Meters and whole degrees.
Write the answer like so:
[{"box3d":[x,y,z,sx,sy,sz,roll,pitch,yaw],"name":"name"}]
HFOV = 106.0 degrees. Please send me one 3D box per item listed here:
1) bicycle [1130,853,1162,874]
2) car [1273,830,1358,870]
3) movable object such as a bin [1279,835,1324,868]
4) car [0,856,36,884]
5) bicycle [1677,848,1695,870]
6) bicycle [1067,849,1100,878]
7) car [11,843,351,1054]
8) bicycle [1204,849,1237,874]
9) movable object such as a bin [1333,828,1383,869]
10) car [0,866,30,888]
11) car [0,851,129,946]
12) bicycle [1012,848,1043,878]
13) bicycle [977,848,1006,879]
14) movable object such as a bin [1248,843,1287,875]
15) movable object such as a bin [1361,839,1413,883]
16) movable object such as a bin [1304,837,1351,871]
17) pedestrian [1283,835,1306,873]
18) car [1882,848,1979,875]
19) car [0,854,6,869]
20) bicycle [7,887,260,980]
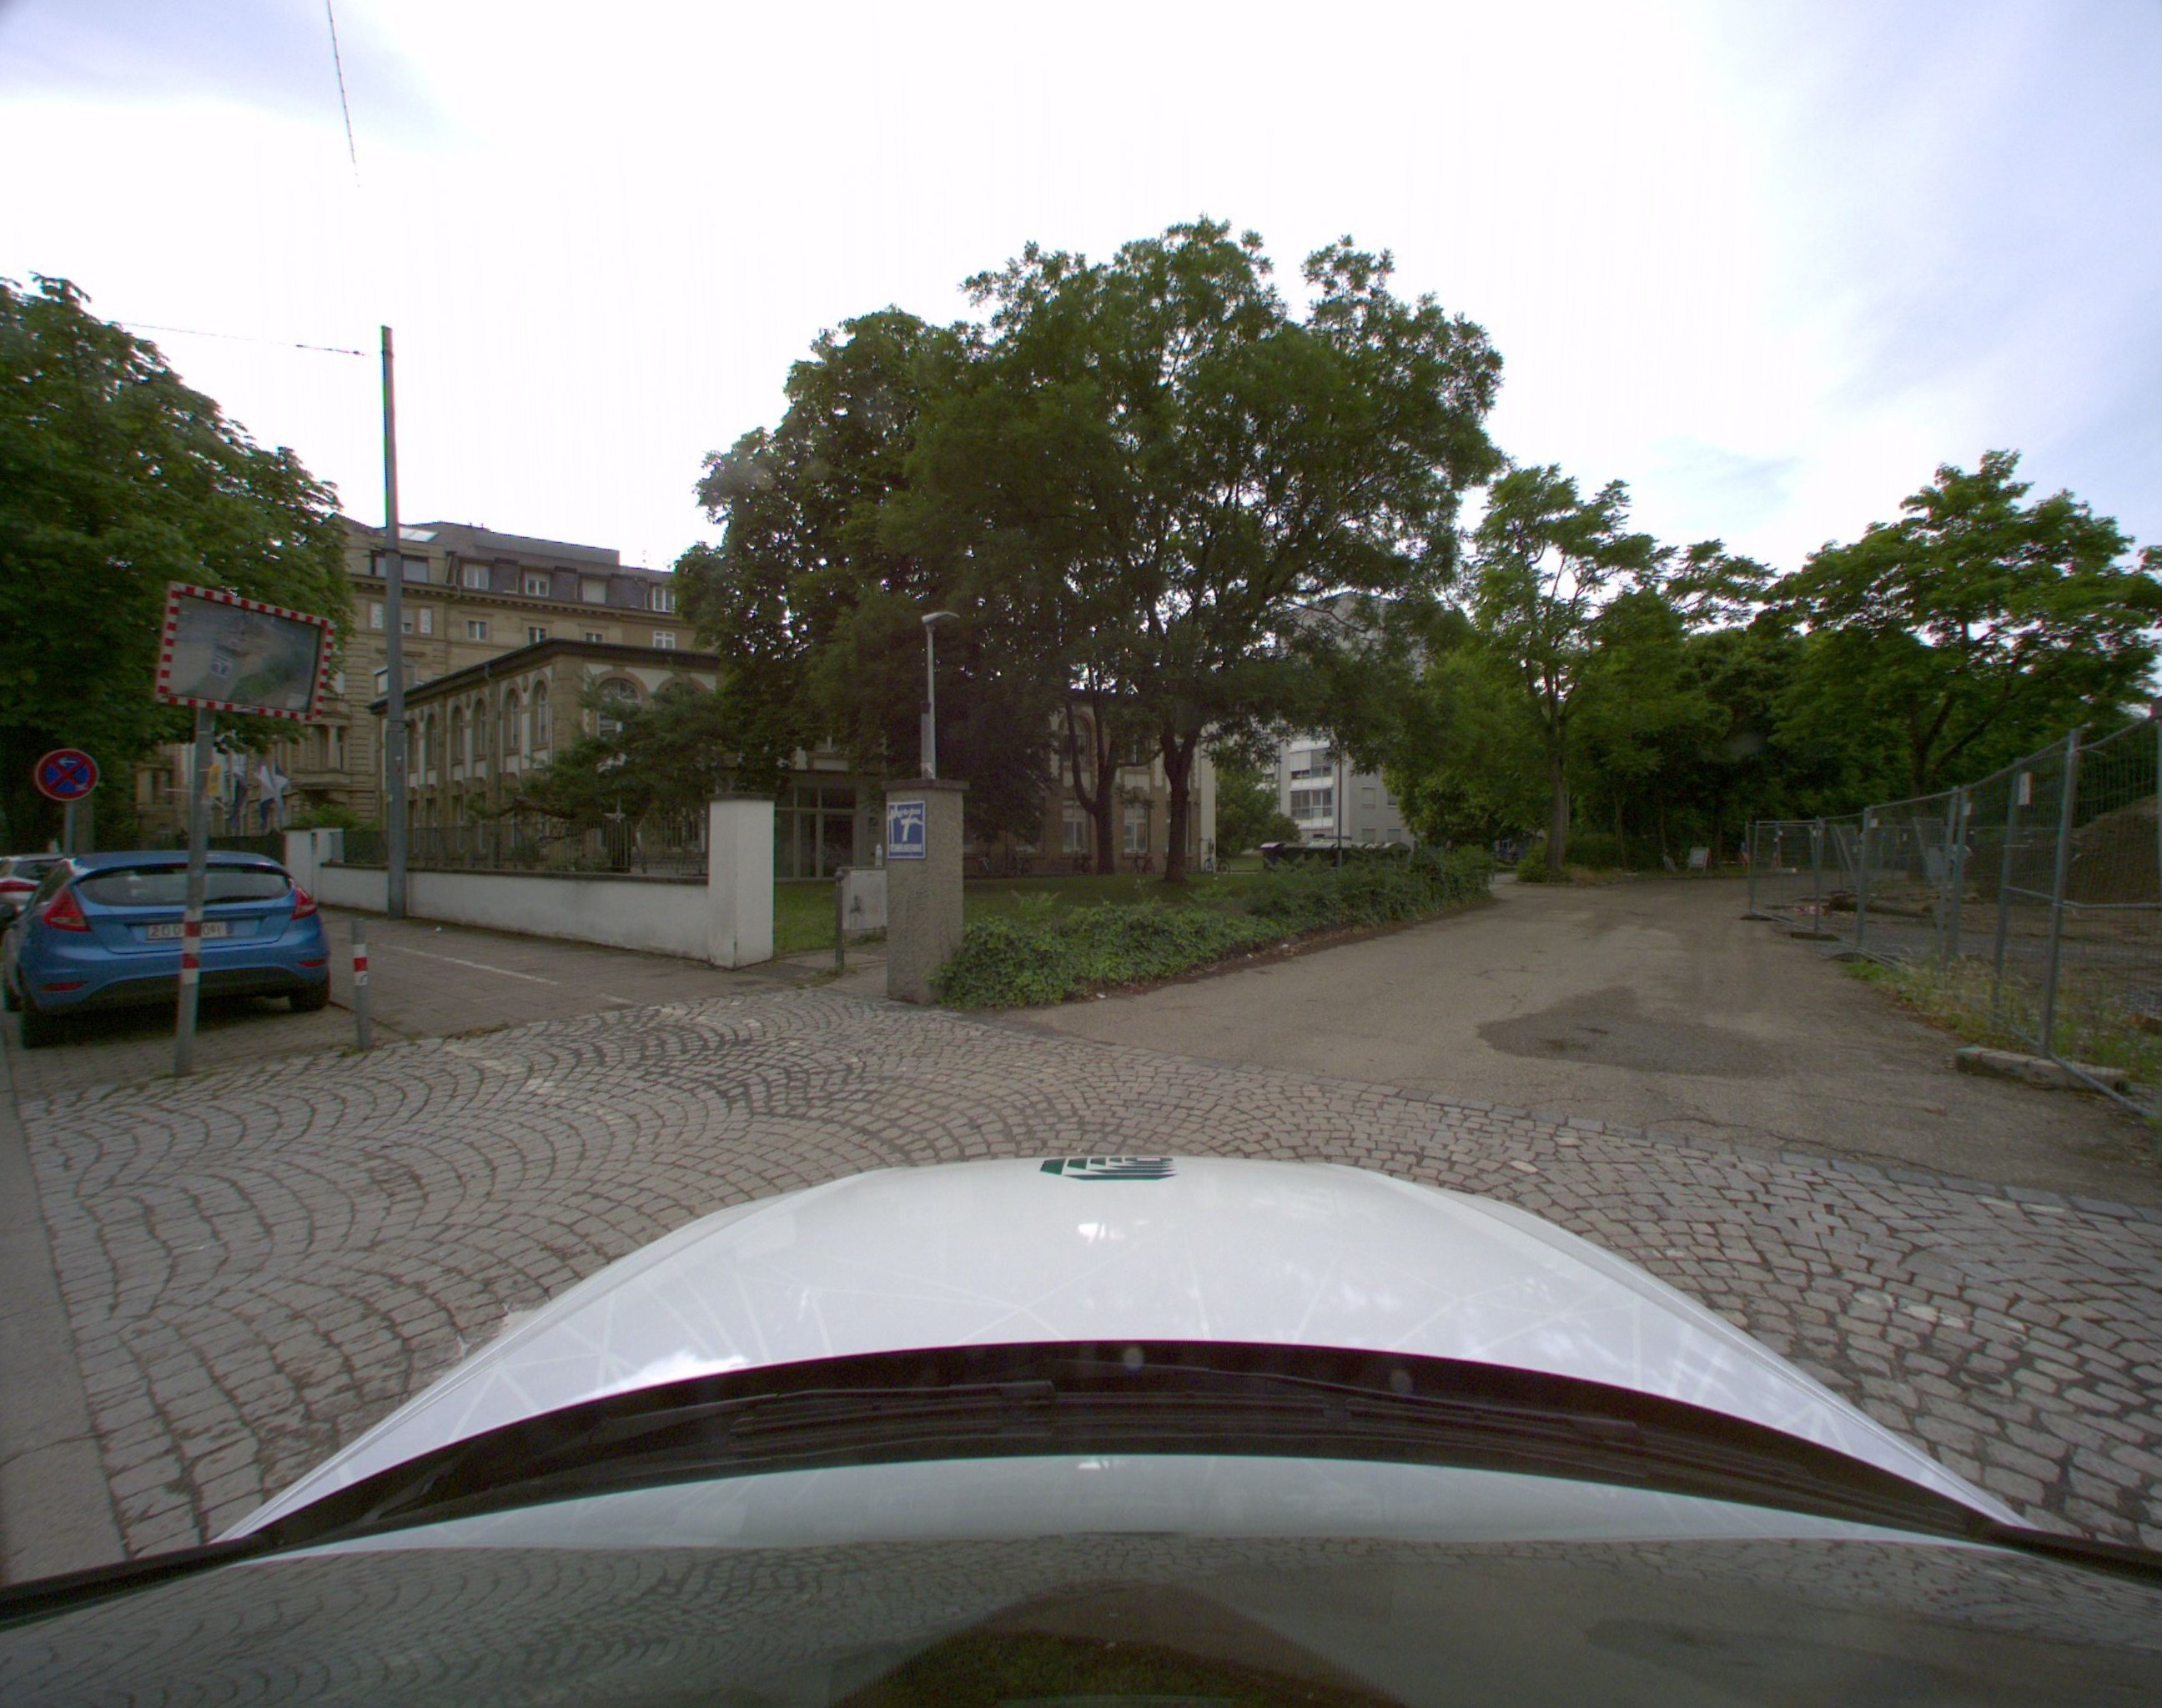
[{"box3d":[2.703,0.387,34.060,0.619,0.813,1.932,0,1,-20],"name":"bicycle"},{"box3d":[12.309,-0.167,42.690,4.365,2.014,1.836,0,-1,-31],"name":"car"},{"box3d":[8.714,-0.090,32.236,1.060,1.264,1.339,-1,1,-35],"name":"movable object such as a bin"},{"box3d":[-56.643,0.813,43.052,3.614,1.399,1.683,0,1,39],"name":"car"},{"box3d":[25.642,0.214,34.506,1.160,0.905,0.415,-1,1,-43],"name":"bicycle"},{"box3d":[0.096,0.347,32.735,0.619,1.119,2.207,0,1,-20],"name":"bicycle"},{"box3d":[-8.265,0.655,7.423,3.388,1.460,1.690,0,2,36],"name":"car"},{"box3d":[6.096,0.334,35.744,0.397,1.065,1.812,0,0,-28],"name":"bicycle"},{"box3d":[10.028,-0.197,29.527,1.059,1.456,1.340,0,0,-32],"name":"movable object such as a bin"},{"box3d":[-72.540,1.541,55.025,3.746,1.399,1.787,0,1,39],"name":"car"},{"box3d":[-17.938,0.694,14.167,3.519,1.481,1.489,0,0,36],"name":"car"},{"box3d":[-2.088,0.343,31.562,0.619,1.119,2.207,0,1,-20],"name":"bicycle"},{"box3d":[-3.423,0.342,31.048,0.619,1.119,2.207,0,1,-20],"name":"bicycle"},{"box3d":[7.625,0.195,33.370,1.054,1.264,1.348,0,0,-14],"name":"movable object such as a bin"},{"box3d":[10.590,0.240,28.194,1.055,1.450,1.347,0,2,-18],"name":"movable object such as a bin"},{"box3d":[9.354,-0.015,30.879,1.059,1.264,1.340,-1,1,-32],"name":"movable object such as a bin"},{"box3d":[10.371,0.009,39.524,0.759,1.809,0.691,0,-1,-30],"name":"pedestrian"},{"box3d":[51.194,0.425,49.149,1.870,1.500,3.683,0,1,-23],"name":"car"},{"box3d":[-142.542,0.962,106.492,3.948,2.014,2.013,-1,-1,33],"name":"car"},{"box3d":[-11.863,0.946,10.291,0.527,0.957,2.032,0,1,33],"name":"bicycle"}]
